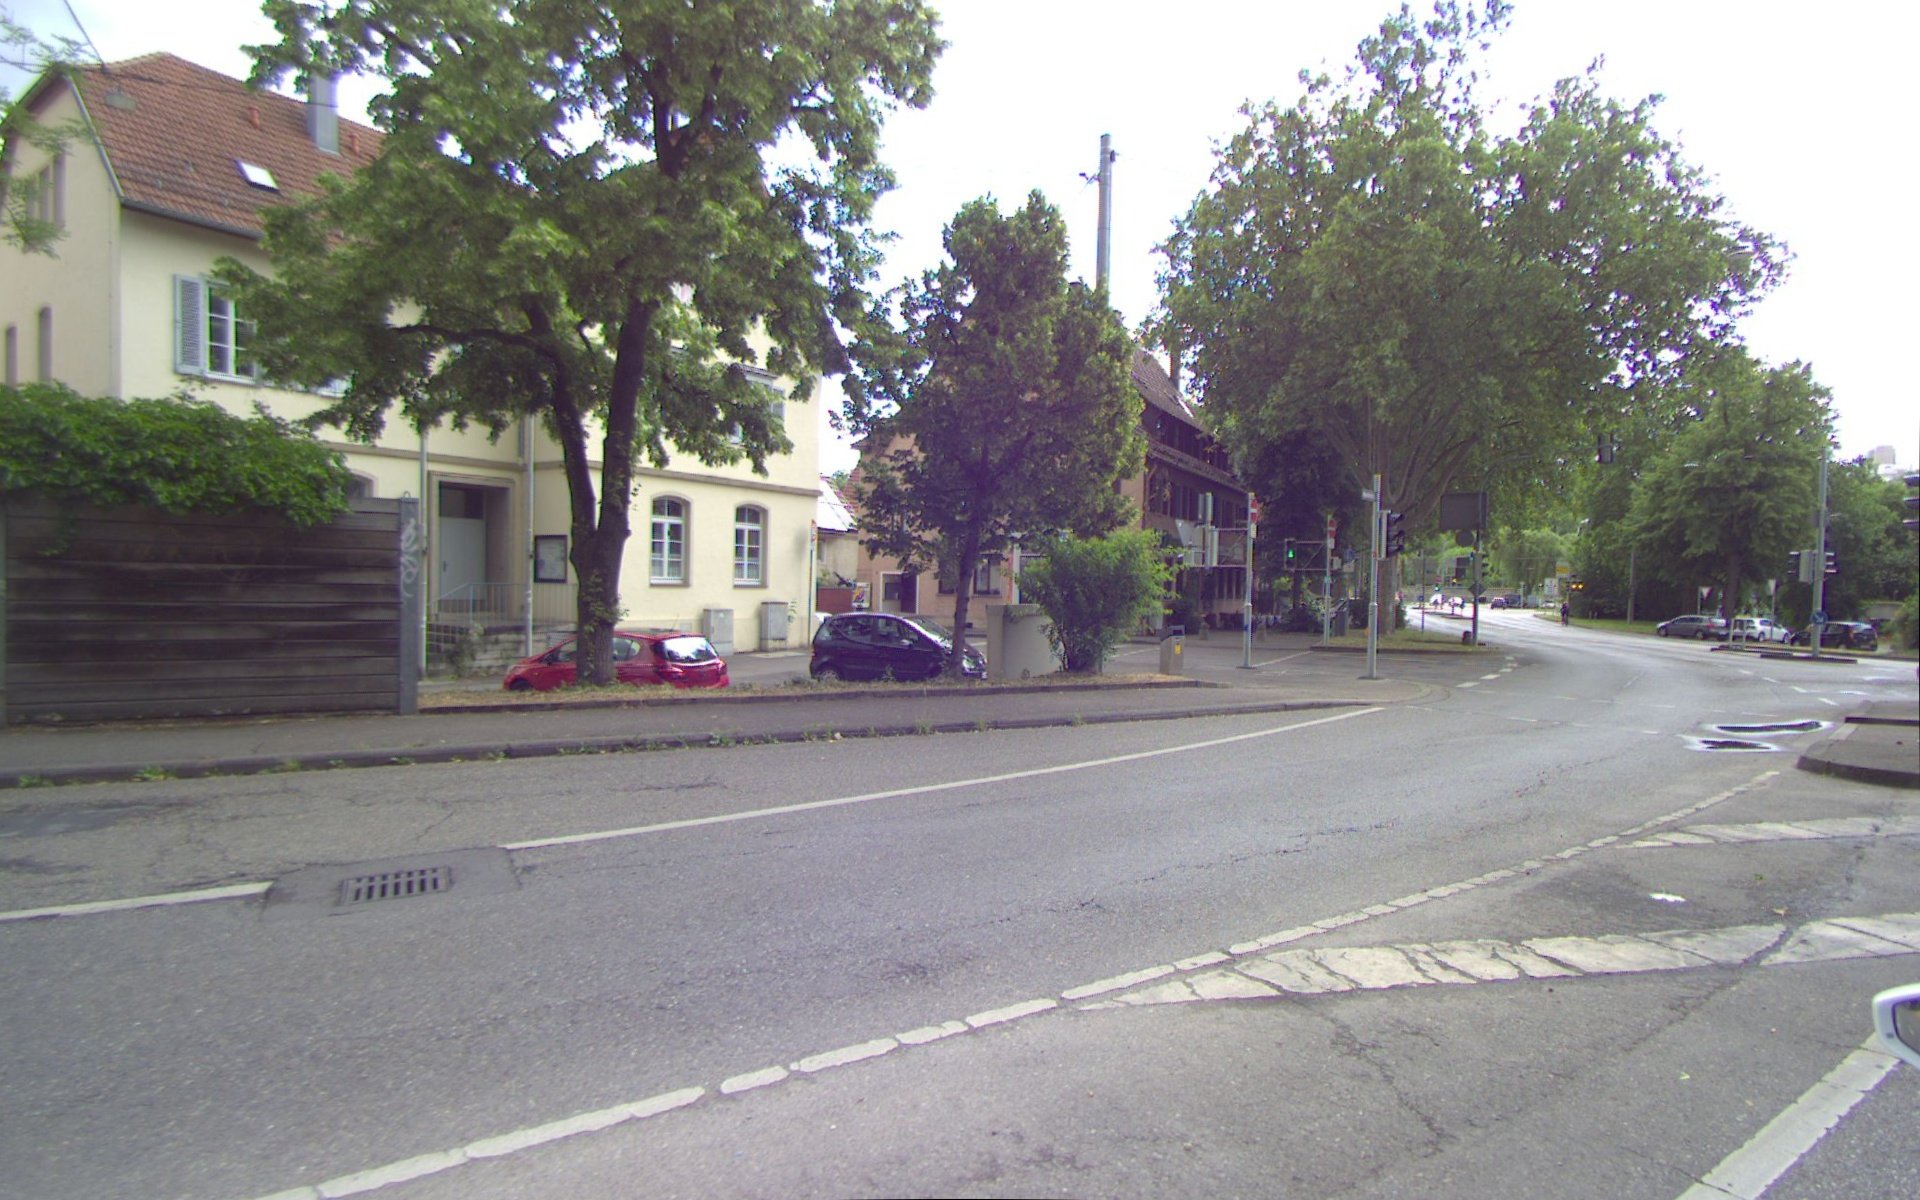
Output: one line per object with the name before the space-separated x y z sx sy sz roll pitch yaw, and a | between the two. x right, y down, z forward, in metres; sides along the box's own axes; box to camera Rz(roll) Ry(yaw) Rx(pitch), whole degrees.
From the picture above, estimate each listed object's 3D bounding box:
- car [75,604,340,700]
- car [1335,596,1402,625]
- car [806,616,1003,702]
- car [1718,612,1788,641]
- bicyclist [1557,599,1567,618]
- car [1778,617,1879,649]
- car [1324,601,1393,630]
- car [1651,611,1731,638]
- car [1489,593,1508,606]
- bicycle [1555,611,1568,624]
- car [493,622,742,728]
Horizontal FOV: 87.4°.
car | -13.222 0.847 17.816 1.583 1.499 3.426 1 0 34
car | 26.330 0.679 64.849 3.921 1.706 2.000 1 0 20
car | -1.079 1.099 19.834 3.504 1.459 1.646 2 0 21
car | 48.475 1.633 61.422 3.702 1.662 1.856 1 0 -24
bicyclist | 45.172 0.631 75.379 0.531 1.360 0.714 2 1 24
car | 41.597 1.559 48.182 1.747 1.370 3.323 1 0 -7
car | 24.788 0.942 62.625 3.921 1.706 2.000 1 0 20
car | 44.792 1.486 61.664 1.594 1.485 3.773 1 0 -16
car | 76.103 -0.051 142.043 1.962 1.617 3.998 2 0 23
bicycle | 45.203 1.285 75.473 0.547 0.971 2.031 2 0 24
car | -5.535 1.135 16.239 3.649 1.401 1.661 2 0 25
